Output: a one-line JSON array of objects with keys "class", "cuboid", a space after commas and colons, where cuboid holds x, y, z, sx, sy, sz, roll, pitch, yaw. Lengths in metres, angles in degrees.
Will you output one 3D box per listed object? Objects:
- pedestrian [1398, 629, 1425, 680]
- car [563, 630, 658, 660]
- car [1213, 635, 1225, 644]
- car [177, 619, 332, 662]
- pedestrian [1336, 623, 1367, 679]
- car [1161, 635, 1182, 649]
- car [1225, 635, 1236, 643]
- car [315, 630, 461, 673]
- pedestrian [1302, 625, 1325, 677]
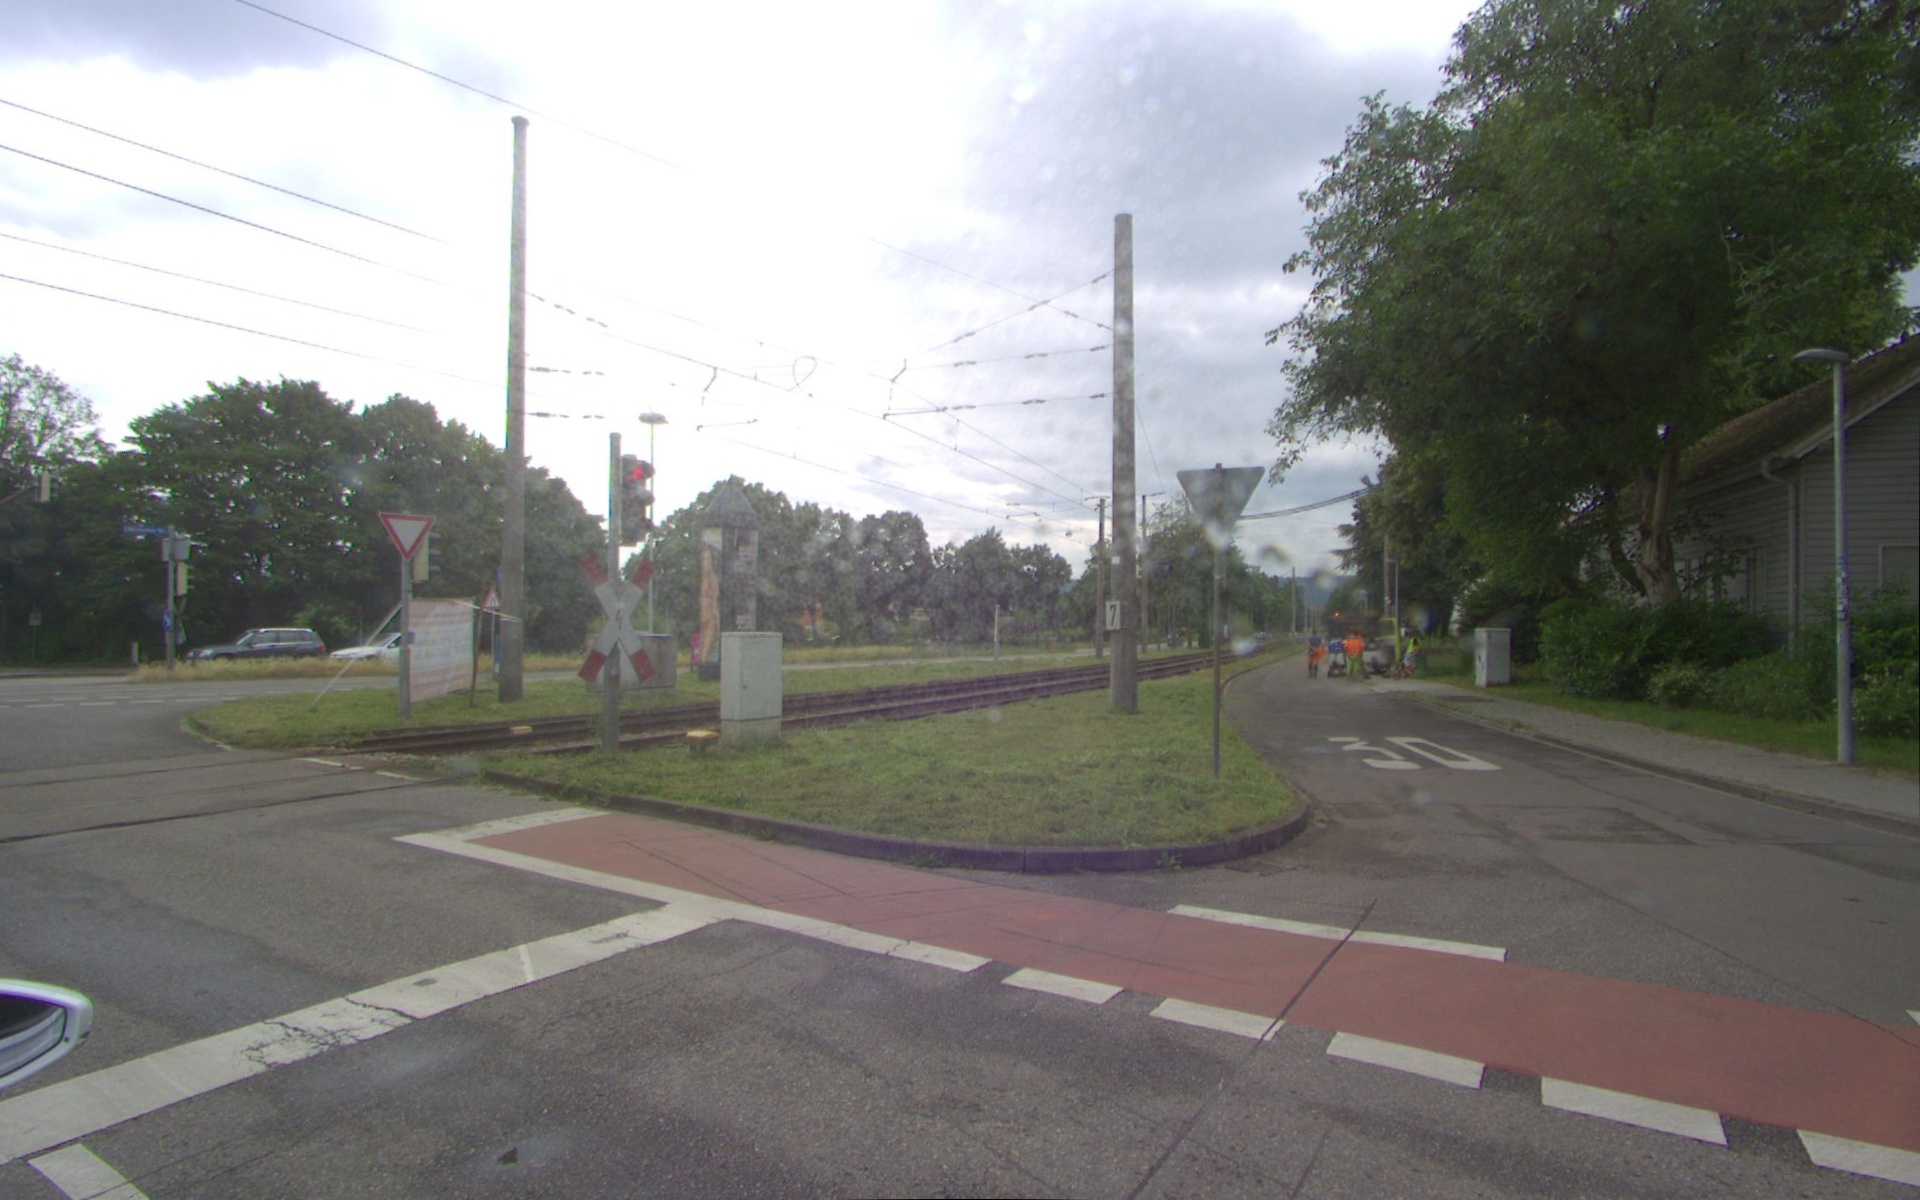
[{"class": "pedestrian", "cuboid": [16.561, 1.985, 36.718, 0.598, 1.864, 0.712, 1, -1, -13]}, {"class": "car", "cuboid": [-17.952, 2.317, 51.598, 1.820, 1.458, 4.456, 0, -2, 33]}, {"class": "car", "cuboid": [45.038, 6.883, 173.875, 1.963, 1.460, 3.997, -1, -2, 16]}, {"class": "car", "cuboid": [-26.539, 1.522, 37.810, 1.820, 1.523, 4.456, 0, -2, 33]}, {"class": "pedestrian", "cuboid": [13.412, 1.737, 34.301, 0.862, 1.878, 0.676, 1, -1, 34]}, {"class": "car", "cuboid": [26.590, 5.224, 125.956, 1.966, 1.743, 3.992, -1, -2, 21]}, {"class": "car", "cuboid": [51.786, 7.505, 191.493, 1.963, 1.460, 3.997, -1, -2, 16]}, {"class": "car", "cuboid": [-19.737, 1.761, 34.736, 1.624, 1.374, 4.129, 0, -2, 33]}, {"class": "pedestrian", "cuboid": [12.949, 1.869, 36.718, 0.757, 1.892, 0.604, 0, -1, 17]}]
